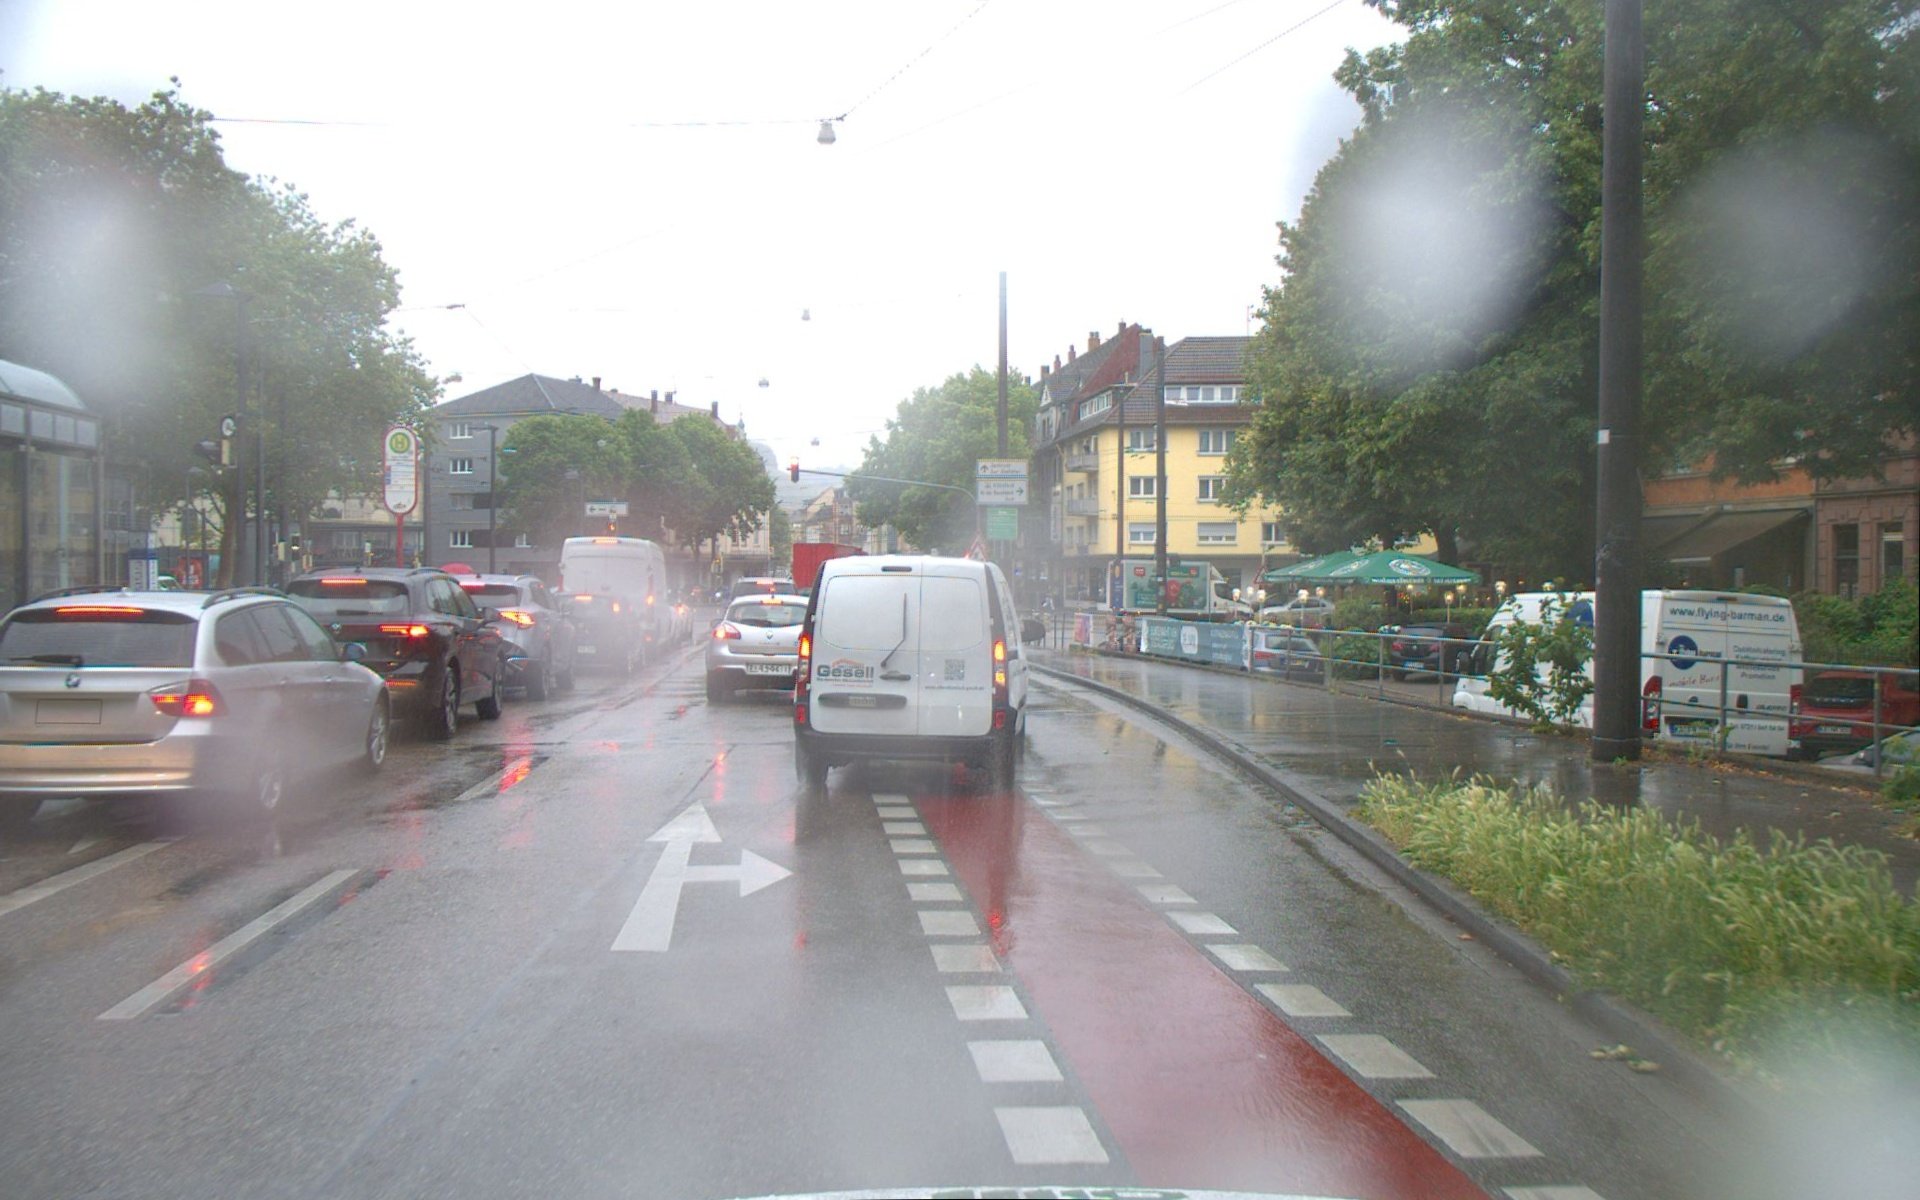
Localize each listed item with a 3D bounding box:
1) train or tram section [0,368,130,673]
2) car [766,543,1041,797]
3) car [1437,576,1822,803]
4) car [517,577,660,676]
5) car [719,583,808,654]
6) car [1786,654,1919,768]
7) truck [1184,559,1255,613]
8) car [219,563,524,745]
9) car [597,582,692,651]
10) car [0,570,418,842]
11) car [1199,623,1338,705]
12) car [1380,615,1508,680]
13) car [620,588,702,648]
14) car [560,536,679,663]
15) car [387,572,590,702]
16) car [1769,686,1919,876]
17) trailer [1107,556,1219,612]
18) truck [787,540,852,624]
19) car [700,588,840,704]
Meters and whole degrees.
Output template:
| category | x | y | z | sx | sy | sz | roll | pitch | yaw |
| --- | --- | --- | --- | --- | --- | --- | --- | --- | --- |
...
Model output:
| category | x | y | z | sx | sy | sz | roll | pitch | yaw |
| --- | --- | --- | --- | --- | --- | --- | --- | --- | --- |
| train or tram section | -11.844 | -0.832 | 16.970 | 2.922 | 3.343 | 8.972 | -1 | 1 | -6 |
| car | -0.330 | 0.532 | 13.796 | 1.918 | 1.808 | 3.571 | 1 | -1 | 4 |
| car | 8.617 | 0.986 | 22.058 | 2.139 | 2.576 | 5.767 | -1 | 1 | -8 |
| car | -6.638 | 0.452 | 29.990 | 1.955 | 1.606 | 4.286 | 2 | 0 | -6 |
| car | -4.379 | 0.422 | 37.240 | 1.725 | 1.494 | 3.531 | 1 | -1 | -3 |
| car | 14.716 | 1.688 | 26.049 | 3.635 | 1.462 | 1.686 | -2 | 1 | -39 |
| truck | 11.637 | -0.626 | 74.242 | 2.595 | 2.339 | 1.993 | 1 | -1 | -14 |
| car | -5.934 | 0.506 | 17.257 | 1.955 | 1.606 | 4.286 | 2 | 0 | -6 |
| car | -8.099 | 0.421 | 42.797 | 1.955 | 1.624 | 4.606 | 2 | 0 | -6 |
| car | -5.294 | 0.574 | 11.512 | 1.955 | 1.498 | 4.261 | 2 | 1 | -6 |
| car | 6.698 | 1.352 | 36.314 | 1.788 | 1.516 | 4.347 | -1 | 1 | -7 |
| car | 12.954 | 1.228 | 44.136 | 1.856 | 1.504 | 3.979 | 0 | 1 | 40 |
| car | -8.774 | 0.502 | 48.881 | 1.955 | 1.624 | 4.606 | 2 | 0 | -6 |
| car | -7.212 | 0.007 | 35.475 | 1.955 | 2.485 | 4.606 | 2 | 0 | -6 |
| car | -6.488 | 0.481 | 23.246 | 1.955 | 1.606 | 4.286 | 2 | 0 | -6 |
| car | 9.504 | 1.703 | 14.916 | 1.789 | 1.516 | 4.343 | -1 | 1 | -9 |
| trailer | 9.025 | -0.677 | 73.618 | 4.574 | 2.357 | 1.993 | 1 | -1 | -14 |
| truck | -8.747 | -1.191 | 104.623 | 3.211 | 4.985 | 11.400 | -1 | 1 | -1 |
| car | -2.627 | 0.626 | 23.590 | 1.725 | 1.494 | 3.531 | 1 | -1 | -3 |
